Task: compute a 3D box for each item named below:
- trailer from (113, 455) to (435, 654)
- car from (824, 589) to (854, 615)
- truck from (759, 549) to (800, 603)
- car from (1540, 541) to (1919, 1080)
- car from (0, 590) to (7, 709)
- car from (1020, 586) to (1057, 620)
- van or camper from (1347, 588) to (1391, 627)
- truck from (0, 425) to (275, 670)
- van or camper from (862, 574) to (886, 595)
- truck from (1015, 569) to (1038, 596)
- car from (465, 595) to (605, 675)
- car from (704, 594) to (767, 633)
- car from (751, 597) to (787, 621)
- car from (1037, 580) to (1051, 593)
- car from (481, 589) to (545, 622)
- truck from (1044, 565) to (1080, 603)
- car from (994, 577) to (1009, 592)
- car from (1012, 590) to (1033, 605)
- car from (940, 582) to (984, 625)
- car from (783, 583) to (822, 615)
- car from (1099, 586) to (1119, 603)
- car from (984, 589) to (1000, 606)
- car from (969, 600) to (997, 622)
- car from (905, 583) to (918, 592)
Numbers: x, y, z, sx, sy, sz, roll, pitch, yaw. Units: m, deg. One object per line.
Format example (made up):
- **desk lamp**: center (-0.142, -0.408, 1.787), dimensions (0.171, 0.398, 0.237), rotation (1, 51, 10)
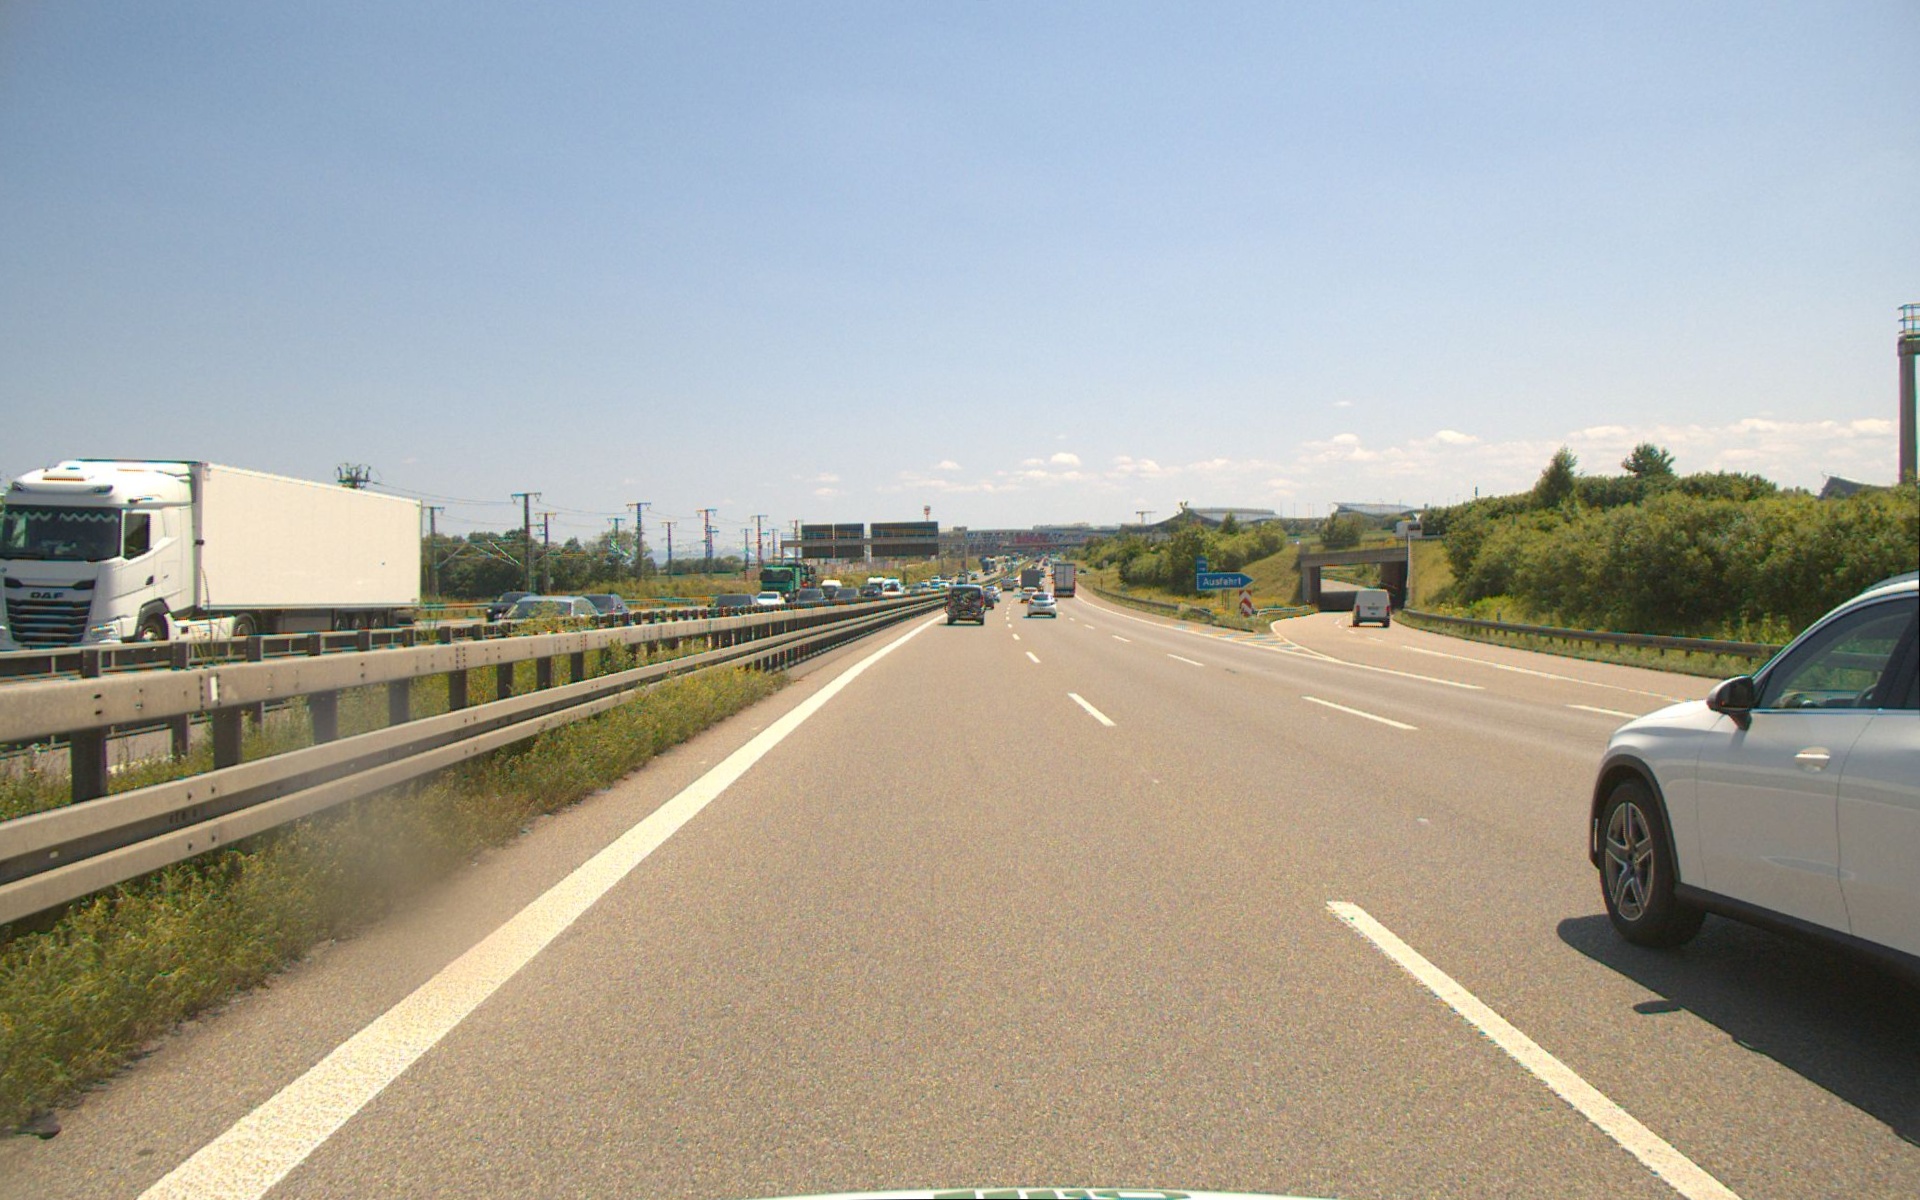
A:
- **trailer**: center (-16.672, -0.939, 41.536), dimensions (3.156, 4.266, 11.409), rotation (1, -1, 1)
- **car**: center (-8.362, 0.115, 114.394), dimensions (1.720, 1.772, 4.721), rotation (0, 0, 0)
- **truck**: center (-15.102, -1.944, 138.854), dimensions (2.703, 4.319, 6.977), rotation (1, -1, 0)
- **car**: center (3.913, 0.673, 5.995), dimensions (1.859, 1.676, 4.998), rotation (1, -1, 0)
- **car**: center (-13.251, 0.642, 19.016), dimensions (1.707, 1.535, 5.101), rotation (0, 0, -1)
- **car**: center (4.626, 0.179, 98.166), dimensions (1.887, 1.952, 4.516), rotation (1, -1, -1)
- **van or camper**: center (22.152, 0.416, 89.732), dimensions (2.110, 2.049, 4.308), rotation (0, -1, 11)
- **truck**: center (-16.887, -0.942, 32.832), dimensions (3.181, 4.283, 7.694), rotation (0, 0, 1)
- **van or camper**: center (-11.043, -1.997, 213.602), dimensions (2.465, 2.712, 8.065), rotation (0, 0, 1)
- **truck**: center (8.503, -2.156, 212.061), dimensions (2.646, 3.163, 10.660), rotation (1, -1, 1)
- **car**: center (-9.256, 0.708, 36.477), dimensions (1.696, 1.616, 5.355), rotation (0, 0, 0)
- **car**: center (-8.961, 0.530, 66.392), dimensions (1.804, 1.486, 4.996), rotation (0, 0, 0)
- **car**: center (-12.176, 0.553, 105.765), dimensions (1.720, 1.507, 4.634), rotation (0, 0, 0)
- **car**: center (12.282, -1.980, 242.165), dimensions (1.901, 1.795, 4.001), rotation (1, 3, 0)
- **car**: center (-20.032, 0.230, 74.318), dimensions (1.661, 1.450, 4.455), rotation (0, 0, 0)
- **truck**: center (12.566, -2.058, 205.391), dimensions (3.956, 4.336, 11.761), rotation (1, 2, 1)
- **car**: center (6.378, -2.358, 252.562), dimensions (2.141, 2.037, 4.001), rotation (1, 3, 0)
- **car**: center (6.077, -0.228, 161.212), dimensions (1.941, 1.499, 4.000), rotation (0, -1, 1)
- **car**: center (0.136, 0.184, 77.731), dimensions (1.887, 1.952, 4.949), rotation (1, -1, 2)
- **car**: center (-8.696, -0.057, 91.778), dimensions (1.720, 1.698, 4.697), rotation (1, 0, 0)
- **car**: center (18.207, -0.669, 202.269), dimensions (1.887, 1.952, 4.517), rotation (1, 0, -1)
- **car**: center (3.128, -0.255, 163.397), dimensions (1.543, 1.579, 3.964), rotation (1, -1, 1)
- **car**: center (1.764, 0.856, 126.086), dimensions (1.886, 1.656, 4.519), rotation (1, -1, 3)
- **car**: center (-6.843, -1.765, 233.863), dimensions (1.658, 1.370, 4.001), rotation (0, 0, 1)
